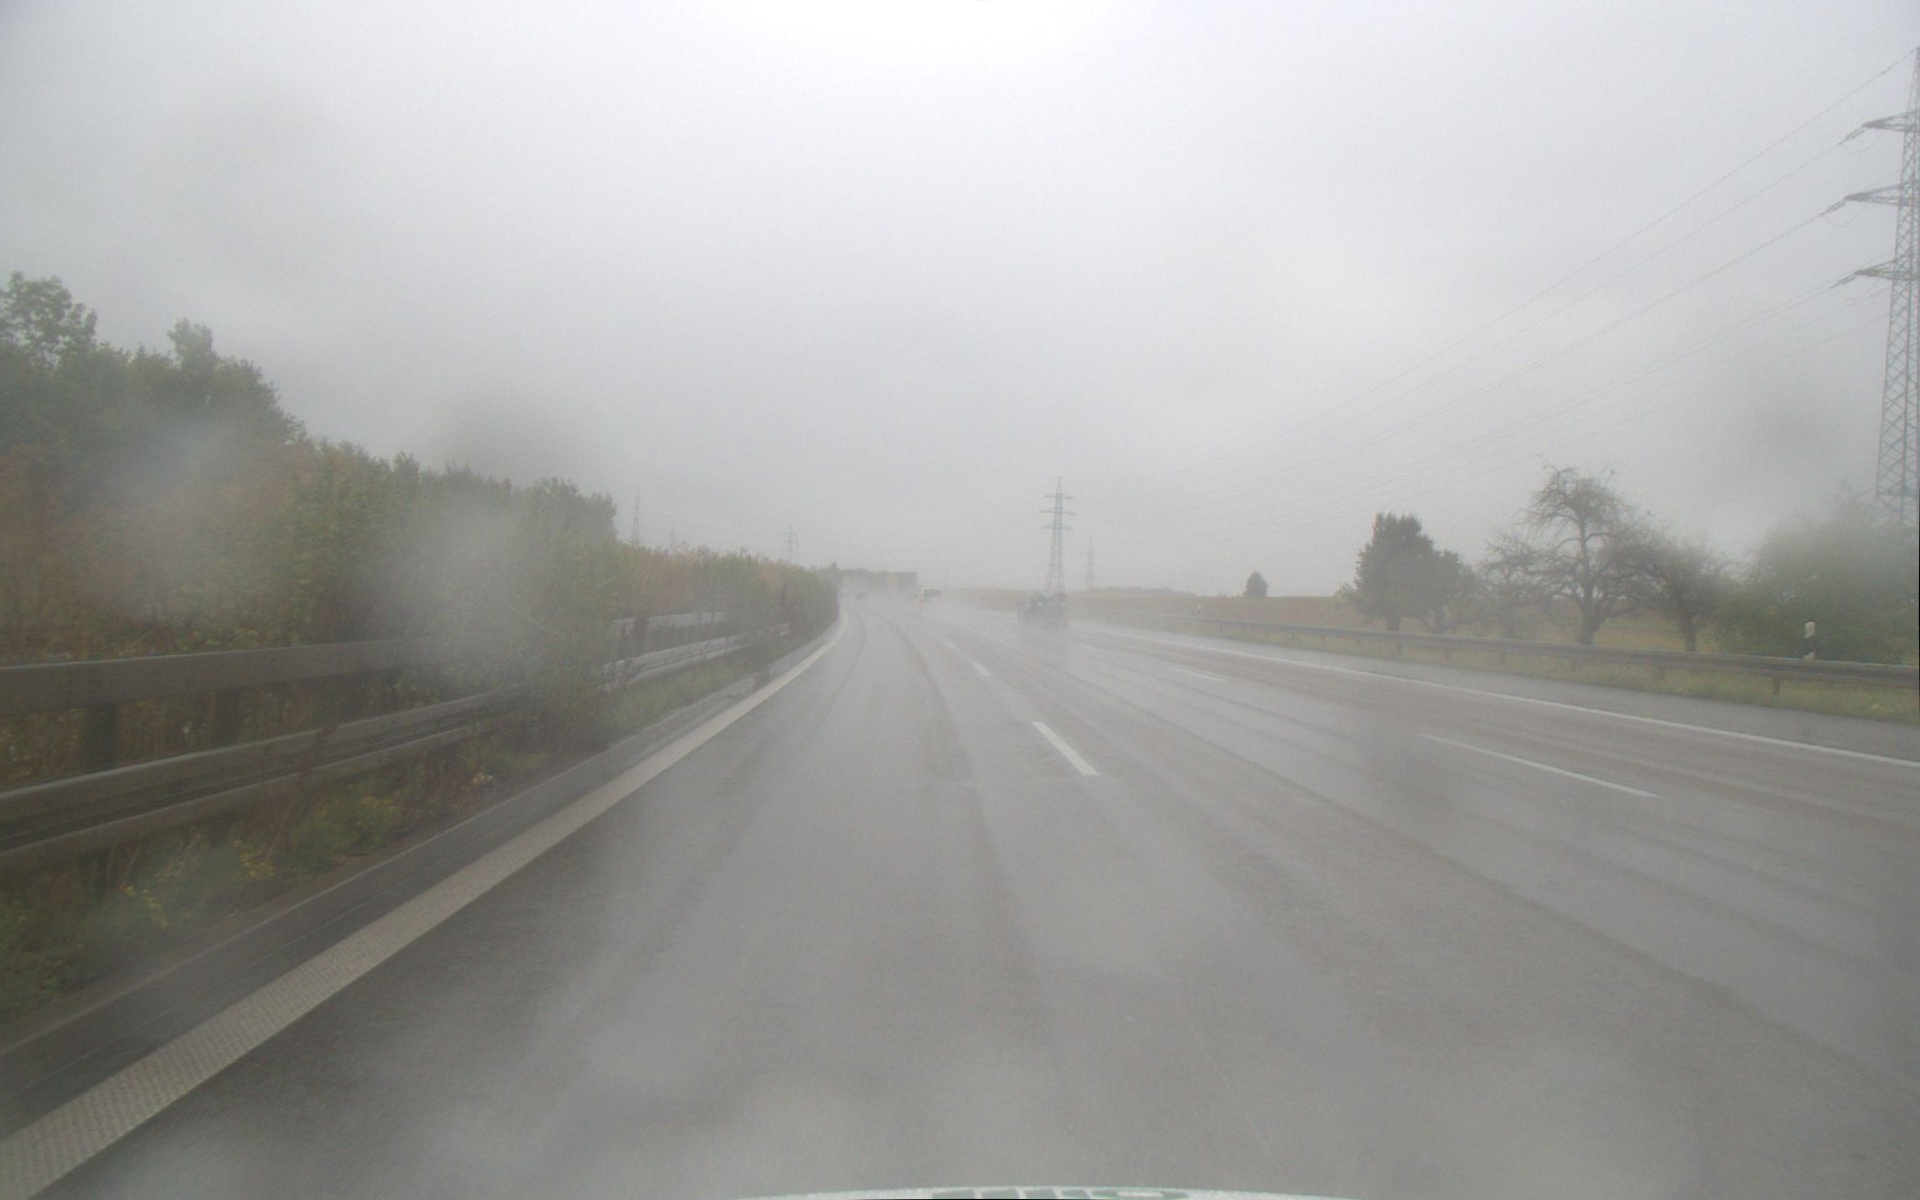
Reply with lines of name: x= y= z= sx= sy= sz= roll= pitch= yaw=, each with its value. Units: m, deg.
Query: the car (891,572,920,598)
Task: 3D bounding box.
car: x=-6.888 y=-1.871 z=209.452 sx=3.138 sy=3.248 sz=7.248 roll=1 pitch=0 yaw=-6

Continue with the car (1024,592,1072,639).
car: x=4.216 y=0.729 z=79.597 sx=1.771 sy=2.196 sz=3.997 roll=1 pitch=0 yaw=-4
